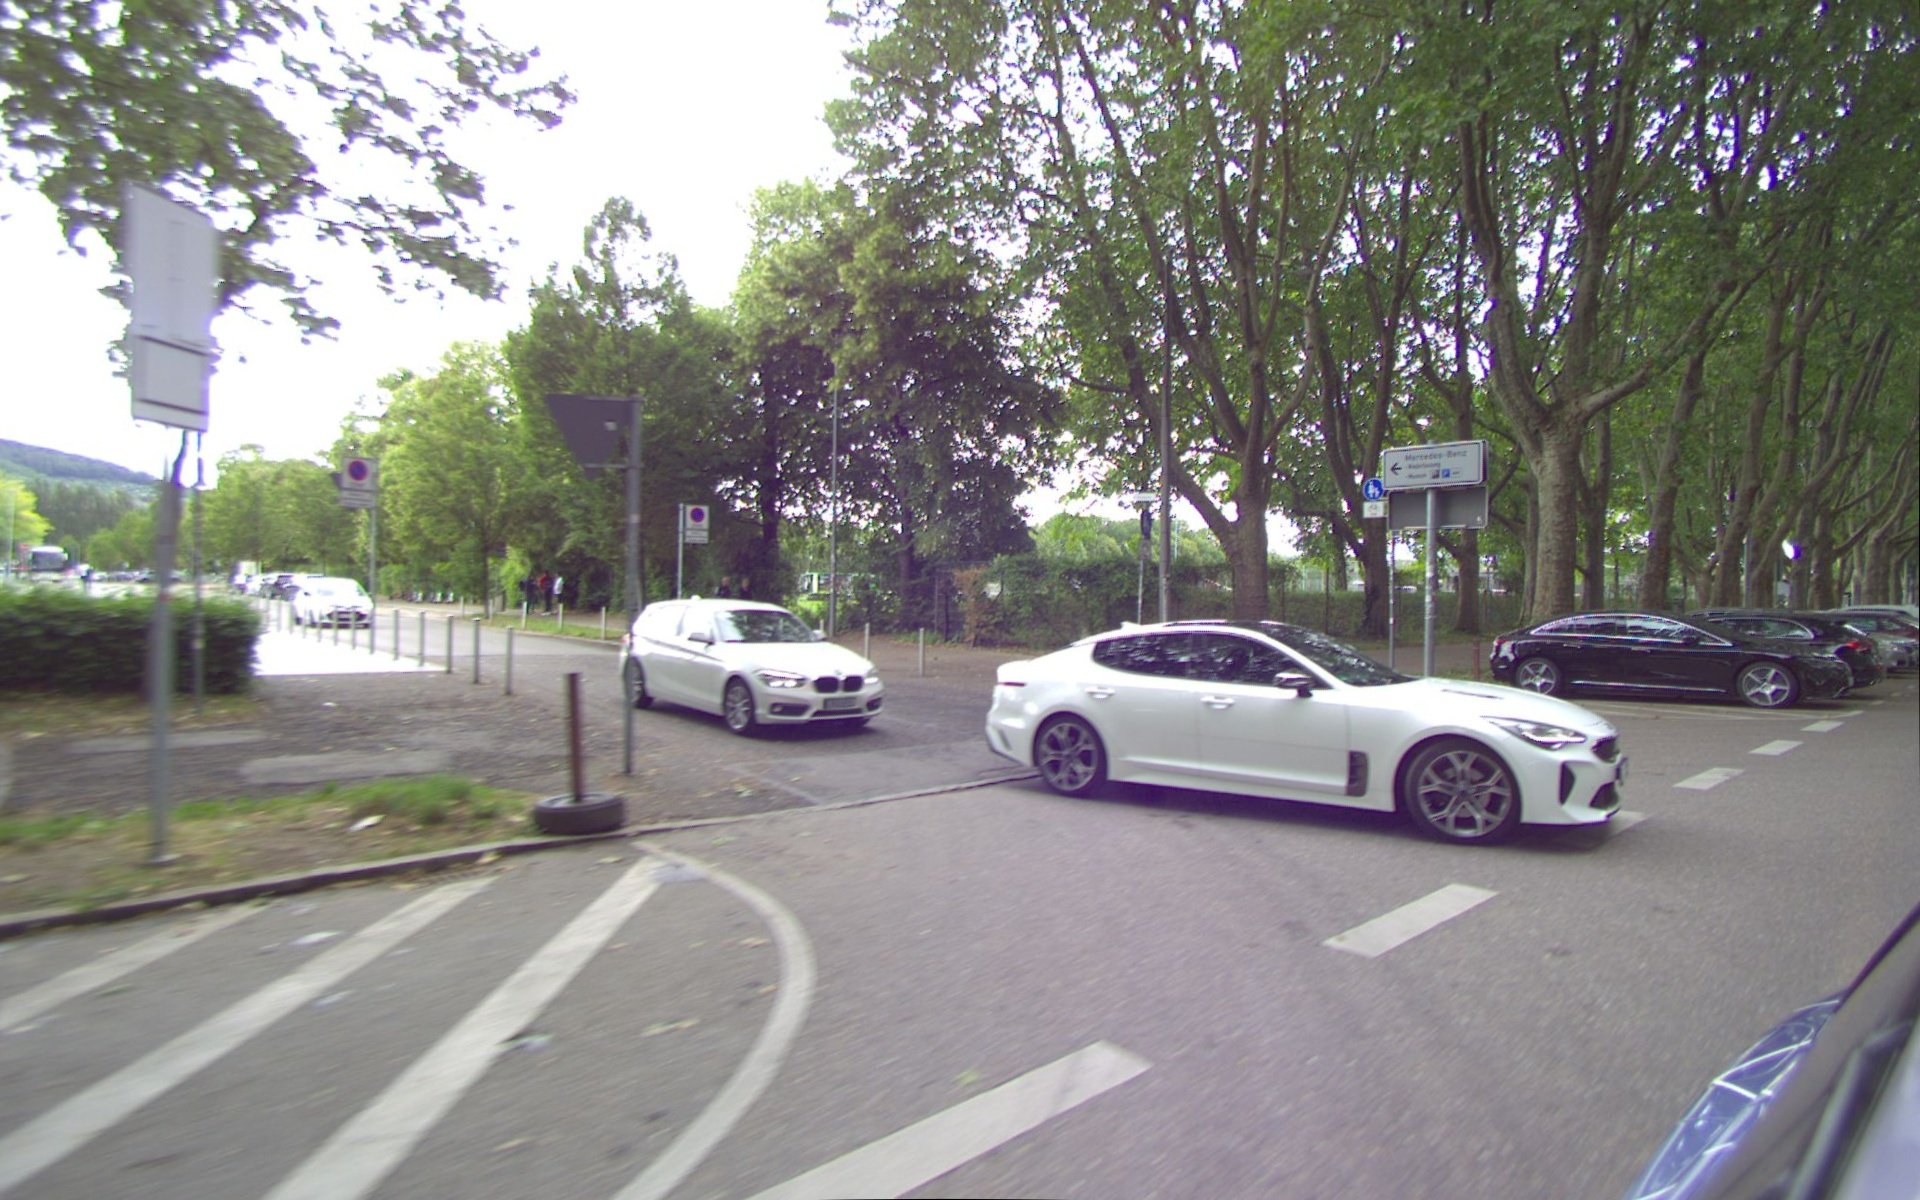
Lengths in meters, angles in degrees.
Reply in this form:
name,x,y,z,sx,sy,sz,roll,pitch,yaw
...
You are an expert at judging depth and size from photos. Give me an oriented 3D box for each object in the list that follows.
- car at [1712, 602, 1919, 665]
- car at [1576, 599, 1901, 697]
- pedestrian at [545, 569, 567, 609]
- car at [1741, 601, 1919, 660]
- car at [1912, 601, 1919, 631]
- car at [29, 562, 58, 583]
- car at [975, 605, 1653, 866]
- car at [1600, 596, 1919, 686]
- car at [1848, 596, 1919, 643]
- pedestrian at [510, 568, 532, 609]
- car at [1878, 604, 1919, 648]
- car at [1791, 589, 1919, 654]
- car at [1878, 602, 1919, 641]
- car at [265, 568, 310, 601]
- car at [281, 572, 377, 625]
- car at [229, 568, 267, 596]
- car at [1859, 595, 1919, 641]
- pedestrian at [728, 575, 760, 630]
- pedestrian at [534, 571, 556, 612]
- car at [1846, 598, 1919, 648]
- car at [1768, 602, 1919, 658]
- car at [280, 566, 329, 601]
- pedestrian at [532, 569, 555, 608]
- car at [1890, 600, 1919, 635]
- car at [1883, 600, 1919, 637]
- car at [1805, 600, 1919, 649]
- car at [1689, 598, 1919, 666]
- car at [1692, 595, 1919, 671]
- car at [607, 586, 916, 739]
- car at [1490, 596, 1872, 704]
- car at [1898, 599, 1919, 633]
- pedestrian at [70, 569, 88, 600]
name,x,y,z,sx,sy,sz,roll,pitch,yaw
car,23.105,0.861,26.838,1.962,1.543,4.677,0,-1,-35
car,13.818,0.753,18.147,1.966,1.496,4.376,0,0,-43
pedestrian,-16.873,-0.471,42.287,0.711,1.664,0.698,0,0,-35
car,24.933,0.821,28.174,1.963,1.543,4.676,0,-1,-36
car,57.816,0.865,57.791,1.963,1.773,4.676,0,-2,-36
car,-92.628,-2.761,102.308,1.964,2.039,3.996,0,0,-39
car,2.562,0.794,7.954,4.653,1.401,1.973,-1,1,38
car,15.475,0.769,19.759,1.966,1.543,4.668,0,-2,-43
car,36.464,0.711,37.751,1.963,1.773,4.676,0,-2,-36
pedestrian,-17.987,-0.486,41.446,0.711,1.664,0.698,0,0,-35
car,40.130,1.002,40.513,1.963,1.773,4.676,0,-2,-36
car,28.824,0.645,31.122,1.963,1.927,4.676,0,-2,-36
car,44.800,0.936,45.646,1.963,1.773,4.676,0,-2,-36
car,-43.134,-0.995,64.911,1.965,2.039,3.994,0,0,-40
car,-19.579,-0.090,31.335,1.754,1.480,4.282,0,1,-43
car,-52.054,-1.301,73.939,1.965,2.039,3.994,0,0,-40
car,38.114,0.695,39.134,1.963,1.773,4.676,0,-2,-36
pedestrian,-6.302,0.060,29.544,0.685,1.587,0.725,0,0,-35
pedestrian,-16.891,-0.341,41.197,0.685,1.664,0.725,0,0,-35
car,34.555,0.810,36.051,1.963,1.773,4.118,0,-2,-36
car,26.814,0.862,29.554,1.963,1.543,4.676,0,-1,-36
car,-39.245,-0.974,60.571,1.965,2.039,3.994,0,0,-40
pedestrian,-17.734,-0.490,43.096,0.686,1.664,0.724,0,0,4
car,49.918,0.843,50.614,1.963,1.773,4.676,0,-2,-36
car,47.147,0.866,47.975,1.963,1.773,4.676,0,-2,-36
car,32.257,0.818,34.685,1.963,1.632,4.676,0,-2,-36
car,21.421,0.741,25.435,1.868,1.542,4.678,0,-1,-35
car,19.654,0.677,23.358,1.788,1.544,4.106,1,0,-32
car,-2.594,0.617,12.471,1.754,1.480,4.282,0,1,-43
car,11.695,0.764,16.709,1.966,1.525,4.823,0,-2,-43
car,51.962,0.805,52.382,1.963,1.773,4.676,0,-2,-36
pedestrian,-48.620,-0.863,55.863,0.722,1.664,0.688,0,0,42
